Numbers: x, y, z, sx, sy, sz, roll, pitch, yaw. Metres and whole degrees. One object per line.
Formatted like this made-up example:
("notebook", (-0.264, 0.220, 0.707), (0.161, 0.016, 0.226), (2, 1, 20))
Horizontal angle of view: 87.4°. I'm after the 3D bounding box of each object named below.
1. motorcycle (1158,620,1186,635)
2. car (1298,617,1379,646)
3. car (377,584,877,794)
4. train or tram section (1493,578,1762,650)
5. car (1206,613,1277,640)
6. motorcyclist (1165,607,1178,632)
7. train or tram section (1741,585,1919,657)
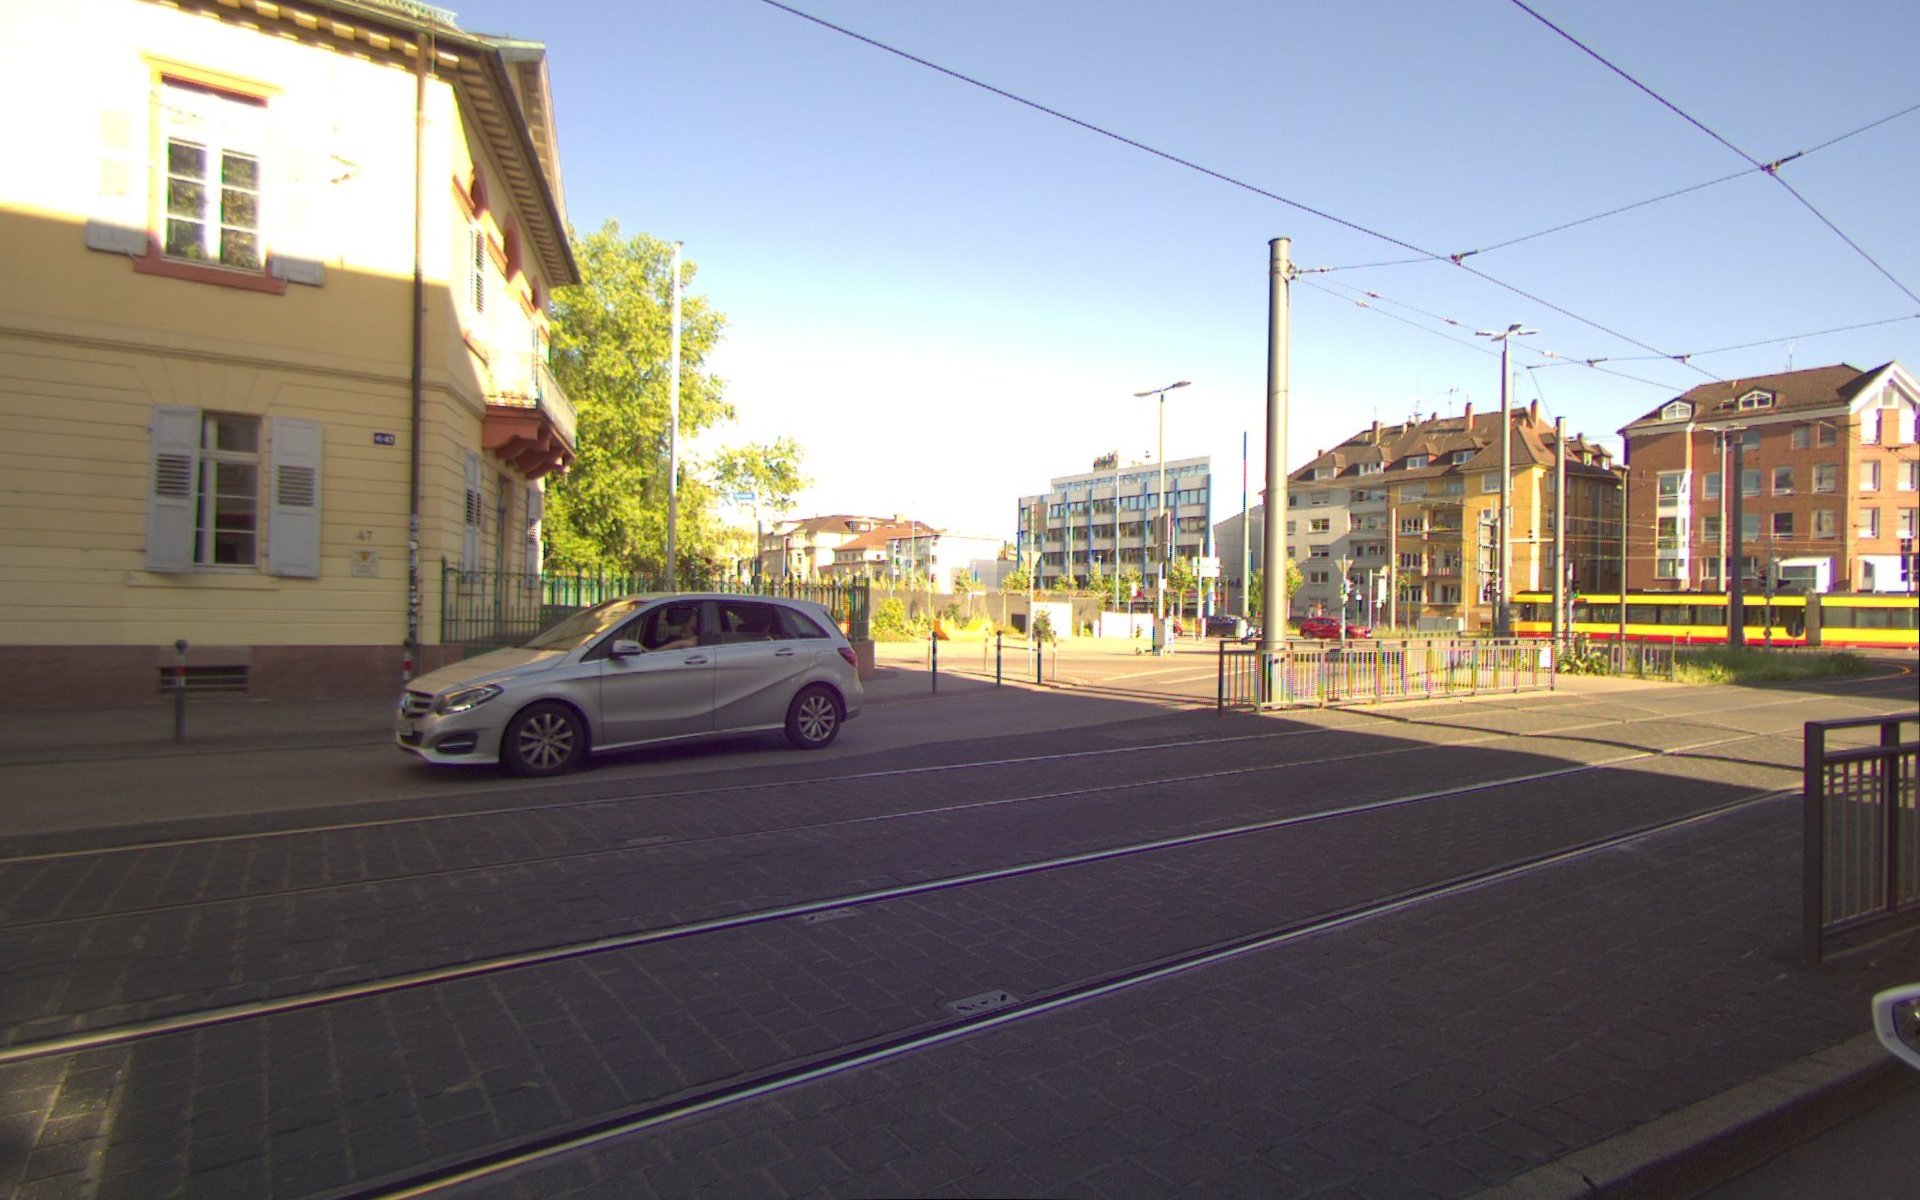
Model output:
("motorcycle", (14.748, 1.915, 70.001), (0.556, 0.905, 1.982), (1, 2, -39))
("car", (22.496, 1.838, 59.834), (1.923, 1.510, 4.110), (1, 1, -40))
("car", (-3.009, 0.704, 9.690), (4.262, 1.589, 1.765), (1, -1, -43))
("train or tram section", (42.314, 0.747, 64.408), (13.966, 3.765, 2.672), (3, 2, 38))
("car", (18.480, 1.723, 66.132), (1.923, 1.510, 4.110), (1, 1, -40))
("motorcyclist", (14.761, 1.370, 70.036), (0.385, 1.731, 0.775), (1, 2, -39))
("train or tram section", (54.690, 1.324, 57.951), (15.078, 3.768, 2.646), (3, 1, 16))
